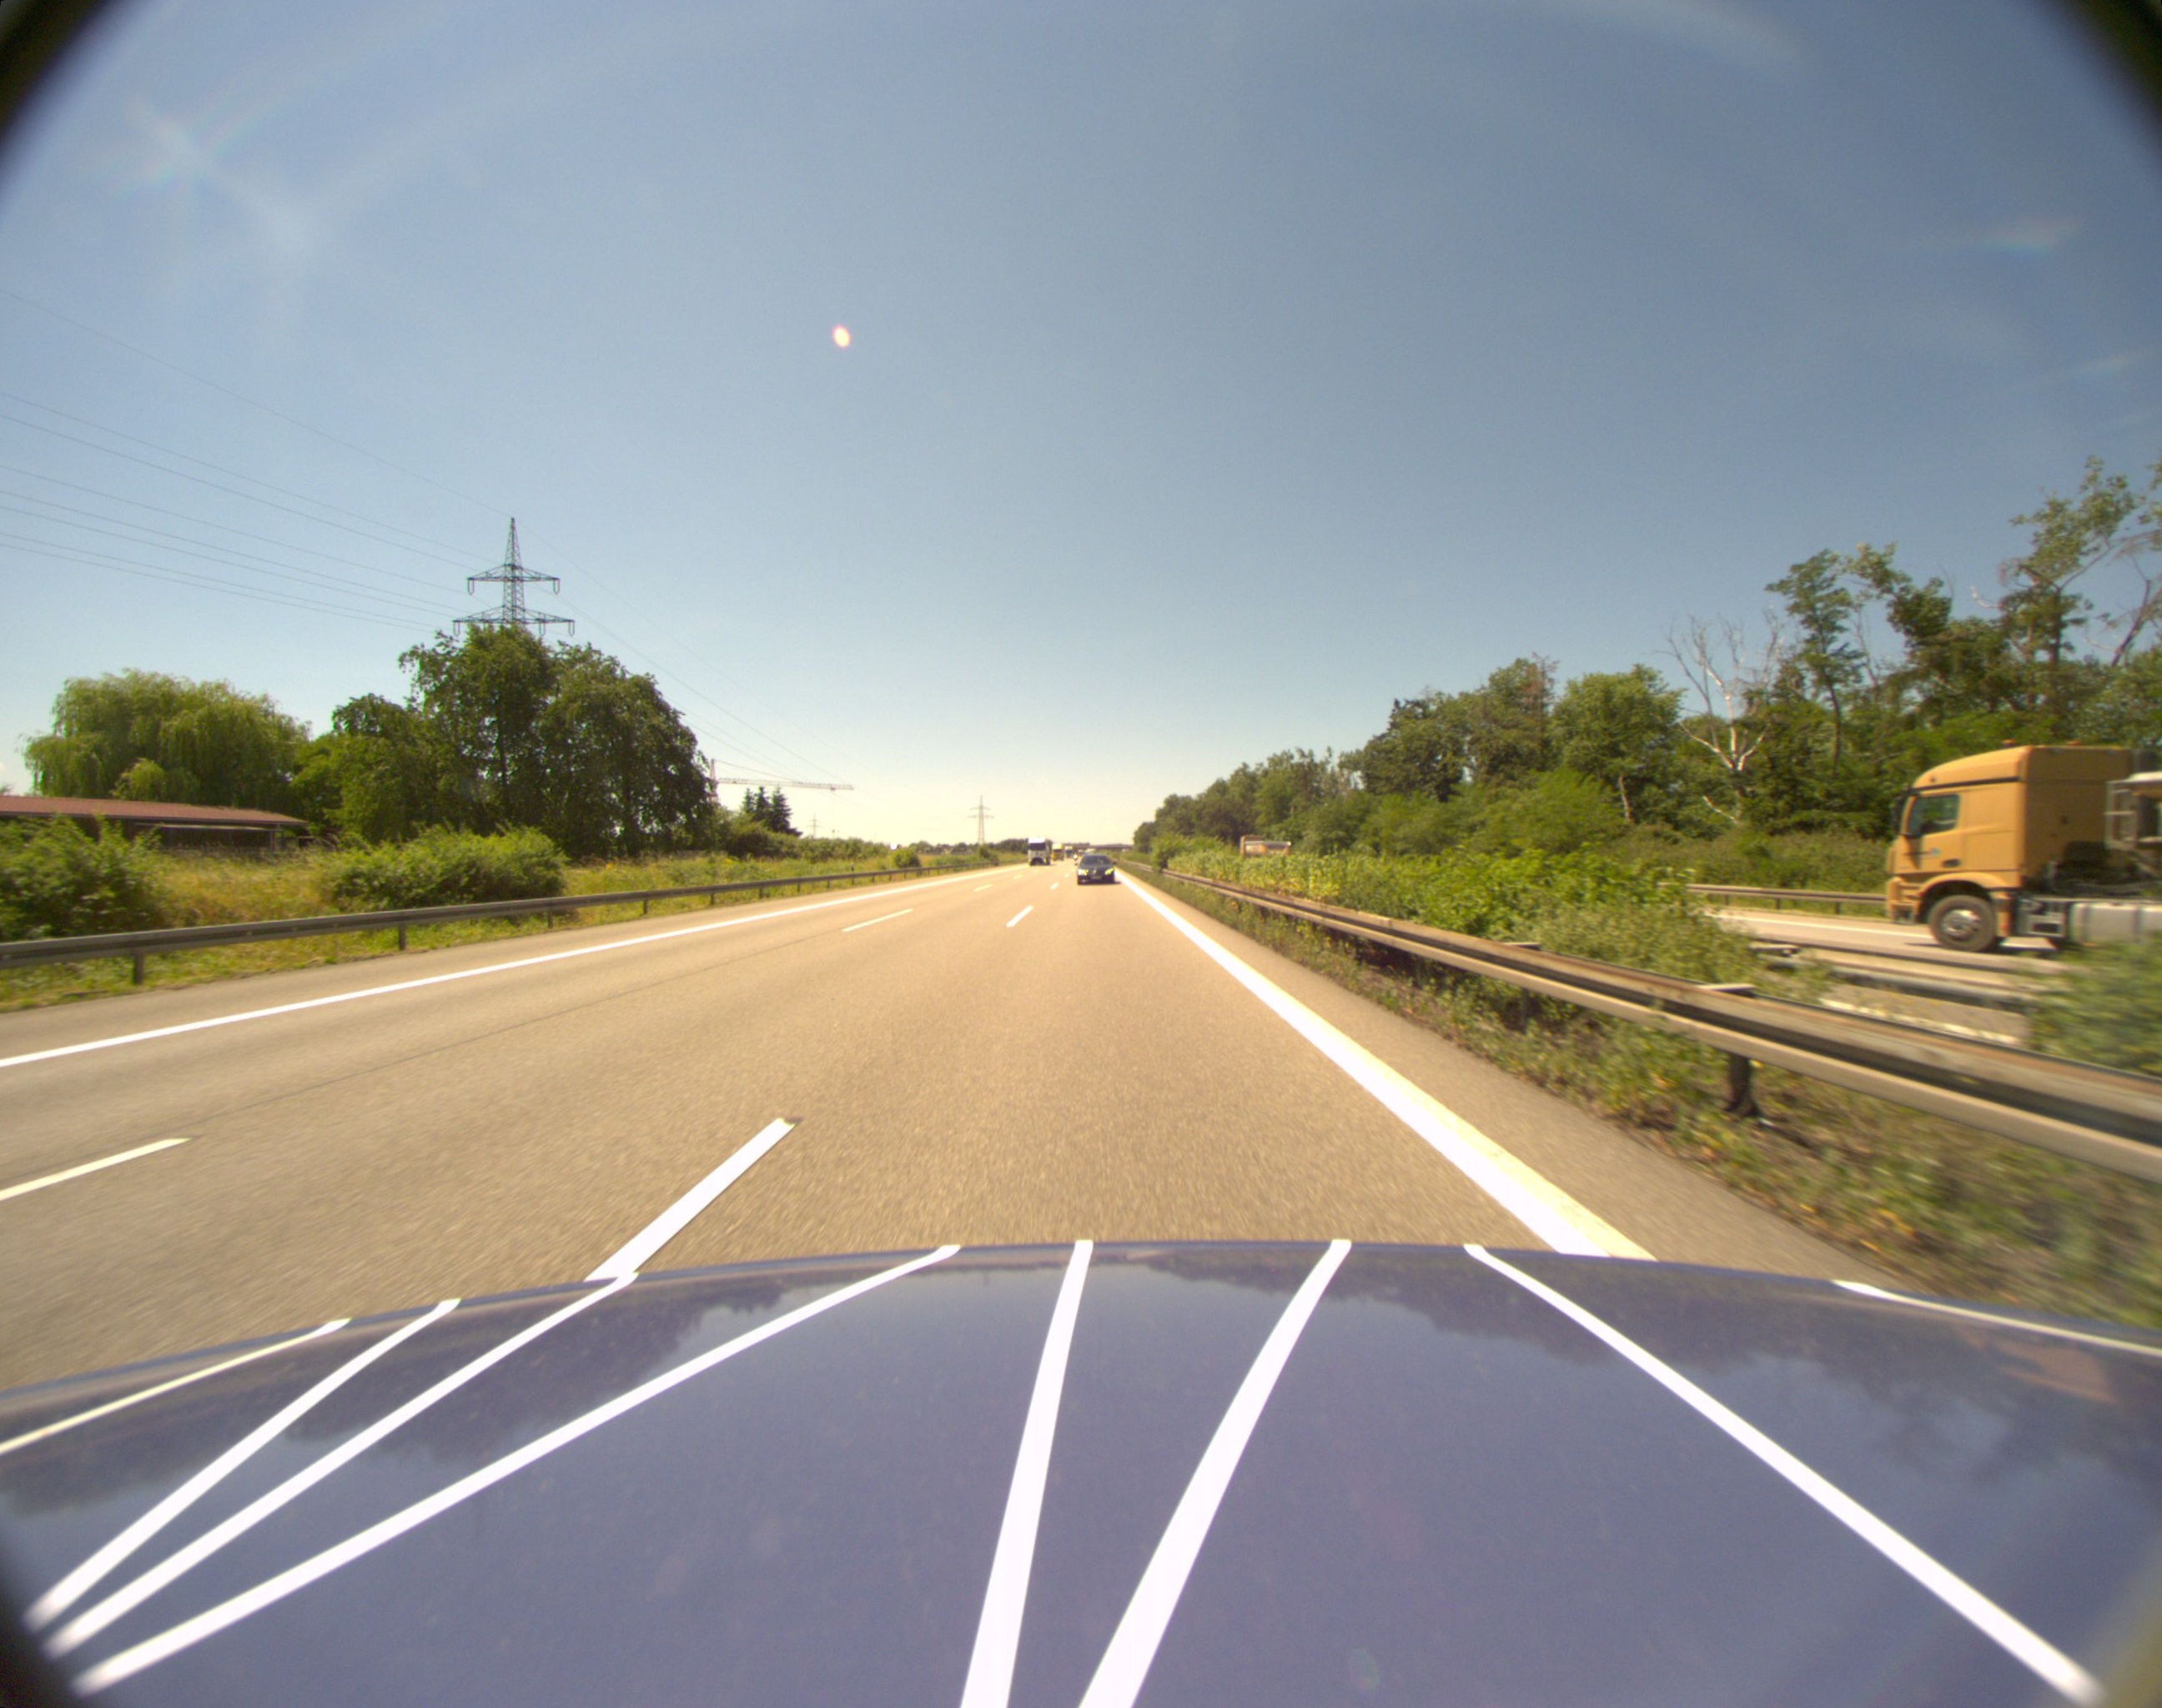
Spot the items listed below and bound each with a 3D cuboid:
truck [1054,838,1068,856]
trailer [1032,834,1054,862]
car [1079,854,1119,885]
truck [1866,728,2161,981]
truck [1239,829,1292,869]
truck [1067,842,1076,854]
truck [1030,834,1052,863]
[{"bbox_3d":[-4.695,-1.651,180.180,2.978,4.240,12.609,0,1,0],"label":"truck"},{"bbox_3d":[-5.614,-0.875,114.589,2.573,3.871,13.278,-2,1,0],"label":"trailer"},{"bbox_3d":[0.862,0.736,37.814,1.808,1.385,3.999,-2,1,0],"label":"car"},{"bbox_3d":[17.186,0.048,9.280,2.907,3.684,11.898,1,0,1],"label":"truck"},{"bbox_3d":[18.253,-0.505,76.008,2.544,3.613,11.843,1,1,1],"label":"truck"},{"bbox_3d":[-3.100,-2.093,260.484,2.978,4.240,12.609,0,1,0],"label":"truck"},{"bbox_3d":[-5.623,-0.810,107.925,2.573,3.871,5.722,-2,1,0],"label":"truck"}]
